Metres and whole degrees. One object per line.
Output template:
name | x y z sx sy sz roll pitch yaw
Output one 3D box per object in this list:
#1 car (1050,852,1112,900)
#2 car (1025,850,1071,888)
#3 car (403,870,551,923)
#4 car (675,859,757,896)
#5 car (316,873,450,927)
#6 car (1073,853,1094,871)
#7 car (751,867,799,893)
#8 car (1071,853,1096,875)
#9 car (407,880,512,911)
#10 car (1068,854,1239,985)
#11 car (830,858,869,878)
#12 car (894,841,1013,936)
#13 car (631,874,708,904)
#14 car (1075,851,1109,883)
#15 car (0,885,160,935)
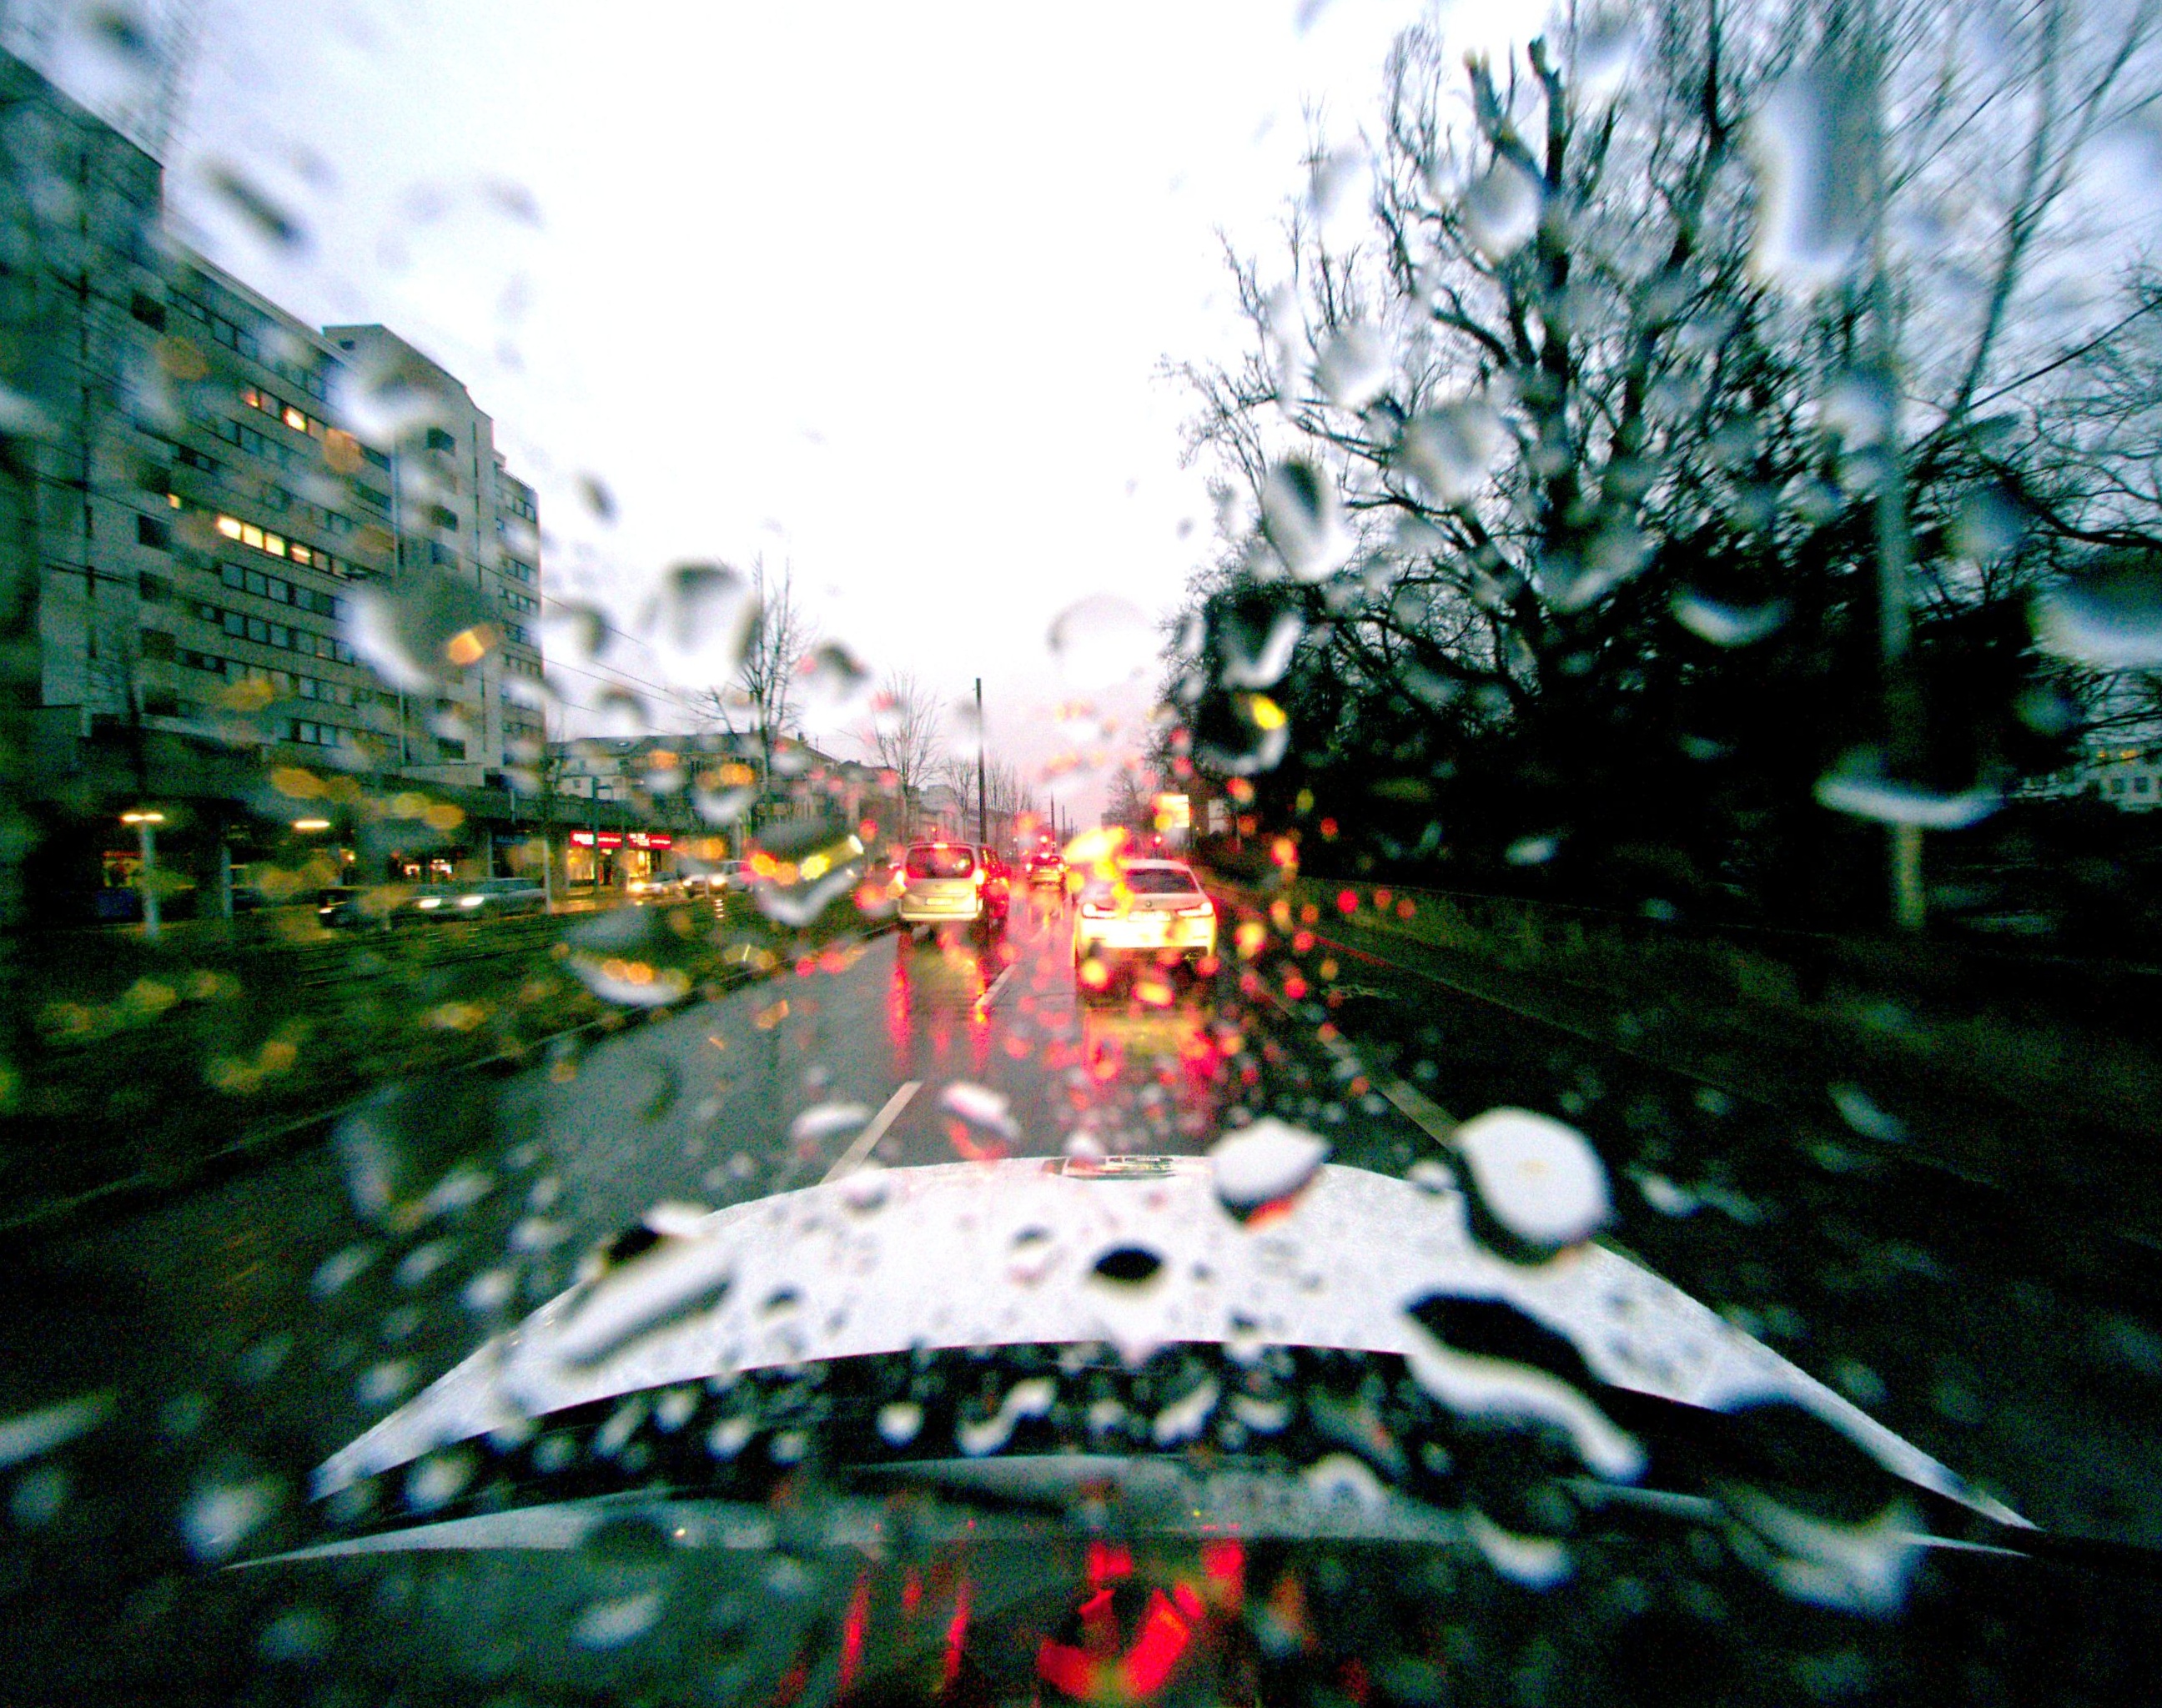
car | 0.075 0.692 27.565 1.928 1.457 4.165 -1 0 2
car | -1.472 0.643 37.479 1.800 1.646 4.002 -1 0 2
car | -19.192 1.312 26.092 1.889 1.431 3.707 -2 0 1
car | -19.199 1.190 43.103 1.889 1.719 5.119 -2 0 1
car | -28.227 1.807 33.021 1.706 1.885 3.949 -2 0 44
car | 0.297 0.704 75.317 1.800 1.646 4.002 -1 0 2
car | -24.227 2.049 64.580 1.889 1.813 4.532 -2 0 2
car | 0.223 0.776 64.435 1.800 1.646 4.002 -1 0 2
car | -30.974 2.042 40.742 4.015 1.387 1.916 1 -1 -34
car | 0.919 0.768 11.702 1.992 1.508 4.165 -1 0 2
car | -21.266 1.280 74.962 1.888 1.719 4.919 -2 0 2
car | -2.530 0.650 17.239 1.788 1.736 4.536 0 0 0
car | -23.865 2.000 47.448 1.889 1.516 4.794 -2 0 2
car | 0.649 0.665 44.837 1.800 1.646 4.002 -1 0 2
car | -38.575 2.122 31.250 4.347 1.695 1.727 -2 0 -1
